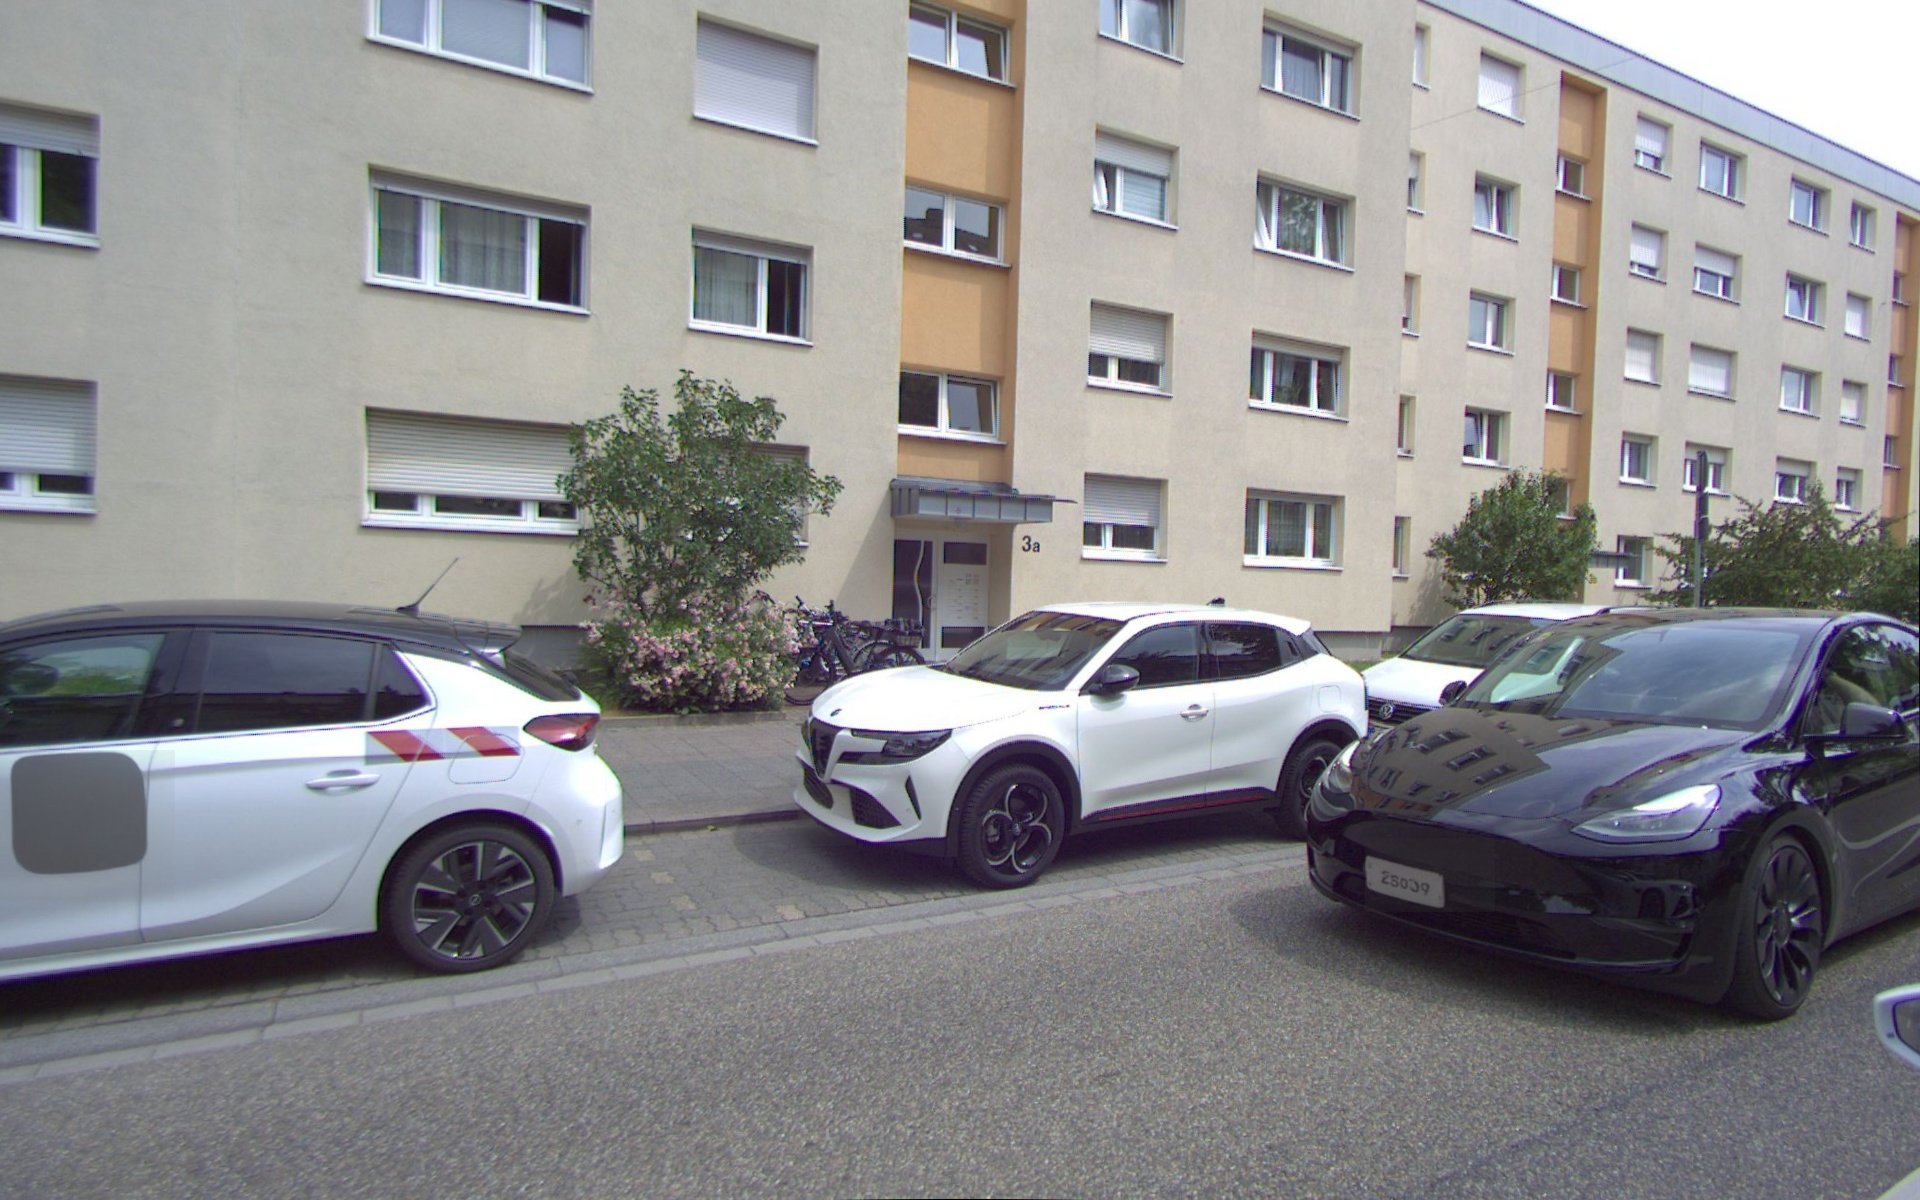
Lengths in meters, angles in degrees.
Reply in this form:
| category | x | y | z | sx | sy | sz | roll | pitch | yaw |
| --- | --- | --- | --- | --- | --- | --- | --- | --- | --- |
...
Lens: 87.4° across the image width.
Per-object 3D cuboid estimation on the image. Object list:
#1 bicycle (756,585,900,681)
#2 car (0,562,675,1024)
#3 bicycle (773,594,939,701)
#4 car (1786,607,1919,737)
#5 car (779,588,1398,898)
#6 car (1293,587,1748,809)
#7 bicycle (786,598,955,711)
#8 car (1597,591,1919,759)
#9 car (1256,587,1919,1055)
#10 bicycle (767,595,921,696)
| category | x | y | z | sx | sy | sz | roll | pitch | yaw |
| --- | --- | --- | --- | --- | --- | --- | --- | --- | --- |
| bicycle | -1.817 | 0.444 | 13.895 | 1.889 | 1.268 | 0.554 | 0 | 2 | -22 |
| car | -3.385 | 0.631 | 4.176 | 3.940 | 1.493 | 1.701 | 1 | 2 | -29 |
| bicycle | -1.304 | 0.579 | 12.655 | 2.013 | 1.268 | 0.535 | 1 | 2 | -20 |
| car | 14.277 | 1.017 | 14.708 | 4.251 | 1.634 | 1.933 | 1 | 2 | -30 |
| car | 0.962 | 0.750 | 6.811 | 3.945 | 1.493 | 1.699 | 1 | 2 | -32 |
| car | 5.379 | 0.787 | 9.491 | 4.425 | 1.634 | 1.689 | 1 | 2 | -30 |
| bicycle | -1.060 | 0.621 | 11.917 | 1.904 | 1.268 | 0.578 | 1 | 2 | -20 |
| car | 10.129 | 0.810 | 12.180 | 4.802 | 1.634 | 1.934 | 1 | 2 | -29 |
| car | 3.922 | 0.790 | 5.315 | 4.558 | 1.541 | 1.942 | 1 | -1 | -30 |
| bicycle | -1.529 | 0.584 | 13.287 | 1.932 | 1.268 | 0.562 | 1 | 2 | -20 |
